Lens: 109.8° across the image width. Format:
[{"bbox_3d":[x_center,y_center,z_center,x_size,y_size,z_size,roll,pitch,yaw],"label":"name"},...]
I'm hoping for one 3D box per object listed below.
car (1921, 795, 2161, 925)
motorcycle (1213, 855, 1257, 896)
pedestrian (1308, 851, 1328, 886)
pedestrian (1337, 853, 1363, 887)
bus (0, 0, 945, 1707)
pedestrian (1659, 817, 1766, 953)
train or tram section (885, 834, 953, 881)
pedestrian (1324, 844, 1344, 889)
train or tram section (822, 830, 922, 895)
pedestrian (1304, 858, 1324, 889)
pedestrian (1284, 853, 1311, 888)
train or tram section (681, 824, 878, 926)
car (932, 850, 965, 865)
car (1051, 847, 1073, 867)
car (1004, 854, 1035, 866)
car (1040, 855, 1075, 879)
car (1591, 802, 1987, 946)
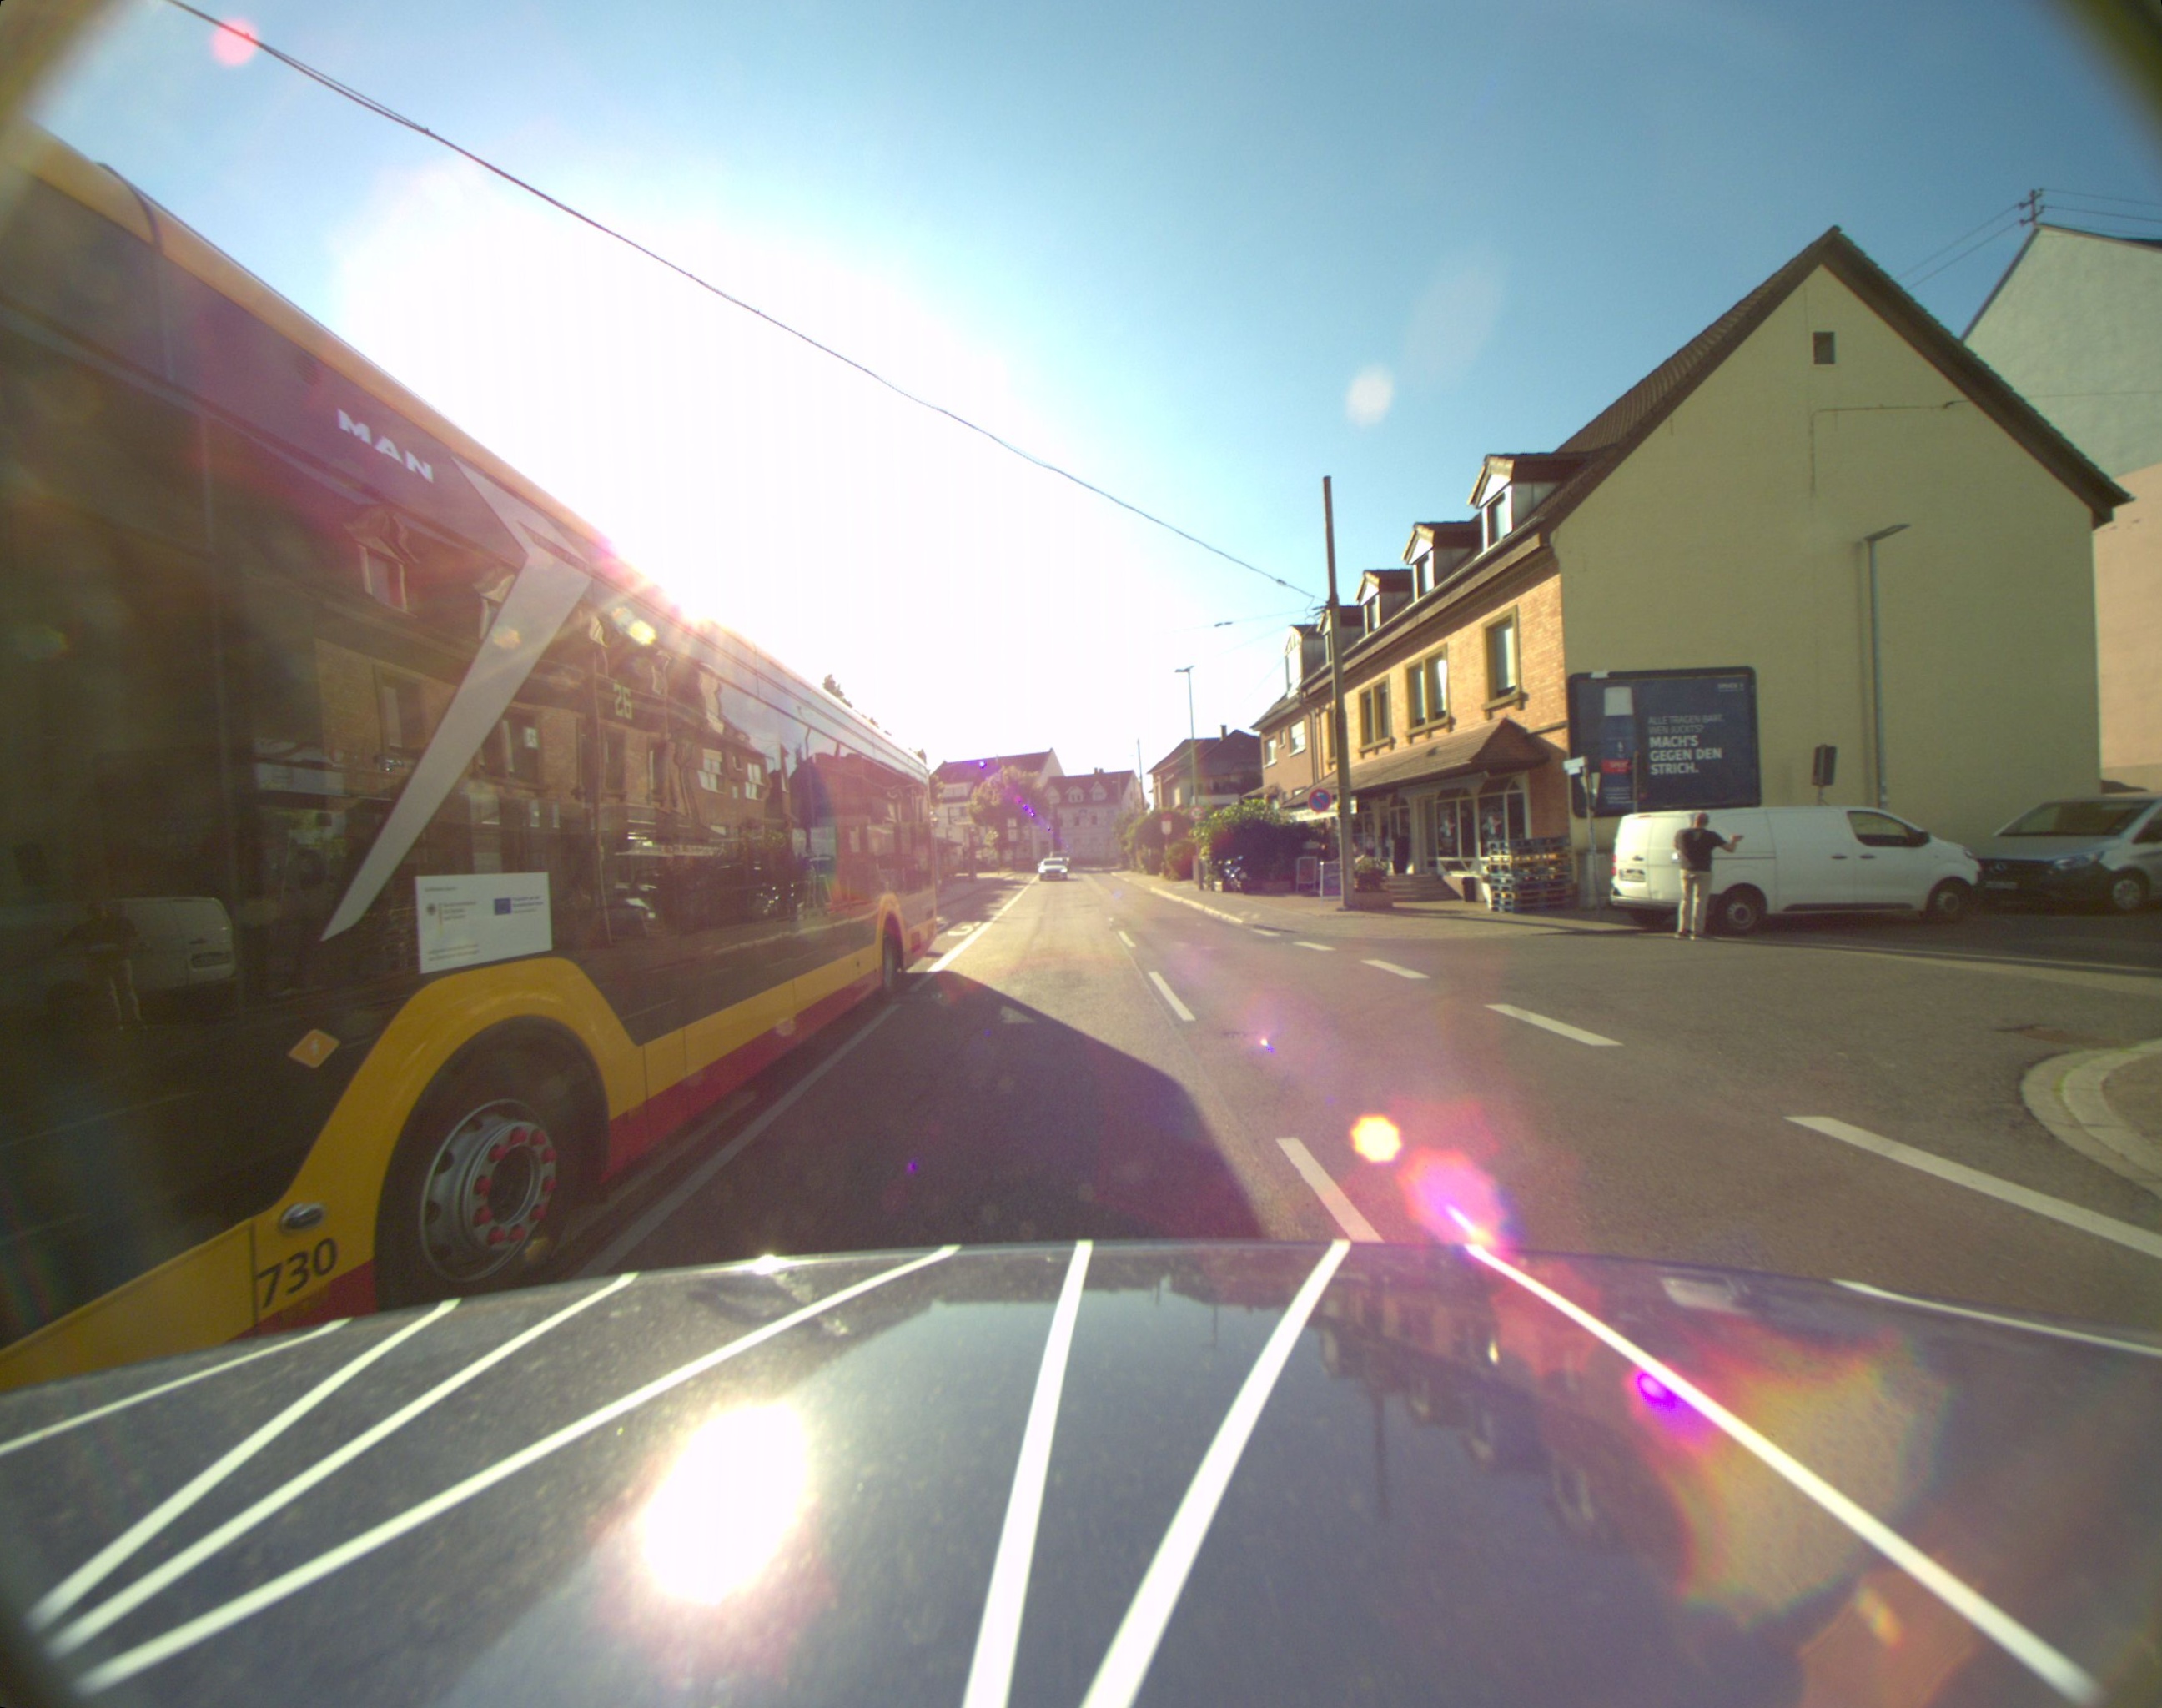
[{"bbox_3d":[17.324,0.008,12.569,4.974,1.884,1.999,-3,0,-5],"label":"car"},{"bbox_3d":[5.340,0.715,26.452,0.841,1.275,2.231,-4,1,-4],"label":"motorcycle"},{"bbox_3d":[8.665,0.541,27.803,0.524,1.251,0.465,-3,1,0],"label":"pedestrian"},{"bbox_3d":[8.804,0.516,24.874,0.564,1.103,0.632,-3,1,-1],"label":"pedestrian"},{"bbox_3d":[-3.412,0.147,5.695,2.695,3.396,12.017,-3,0,-1],"label":"bus"},{"bbox_3d":[9.076,0.436,10.952,0.794,1.857,0.820,-3,0,1],"label":"pedestrian"},{"bbox_3d":[-13.452,0.261,64.839,2.965,3.401,15.936,-2,0,-2],"label":"train or tram section"},{"bbox_3d":[8.788,0.424,26.438,0.465,1.551,0.502,-2,2,-6],"label":"pedestrian"},{"bbox_3d":[-13.158,0.351,49.395,2.965,3.514,13.459,-2,1,-1],"label":"train or tram section"},{"bbox_3d":[8.157,0.684,26.607,0.525,1.041,0.383,-3,1,-18],"label":"pedestrian"},{"bbox_3d":[7.816,0.587,27.495,0.746,1.236,0.667,-3,1,2],"label":"pedestrian"},{"bbox_3d":[-12.810,0.609,34.946,2.965,3.514,15.964,-2,1,-1],"label":"train or tram section"},{"bbox_3d":[-19.589,0.511,112.685,4.264,1.945,2.002,-2,1,18],"label":"car"},{"bbox_3d":[-2.130,0.349,83.793,1.872,1.921,4.789,-4,0,-8],"label":"car"},{"bbox_3d":[-8.733,0.852,107.989,4.196,1.454,1.610,-4,0,30],"label":"car"},{"bbox_3d":[-1.527,0.857,51.503,1.998,1.454,4.450,-3,0,3],"label":"car"},{"bbox_3d":[11.196,0.282,12.252,4.627,1.922,1.999,-3,0,-3],"label":"car"}]
